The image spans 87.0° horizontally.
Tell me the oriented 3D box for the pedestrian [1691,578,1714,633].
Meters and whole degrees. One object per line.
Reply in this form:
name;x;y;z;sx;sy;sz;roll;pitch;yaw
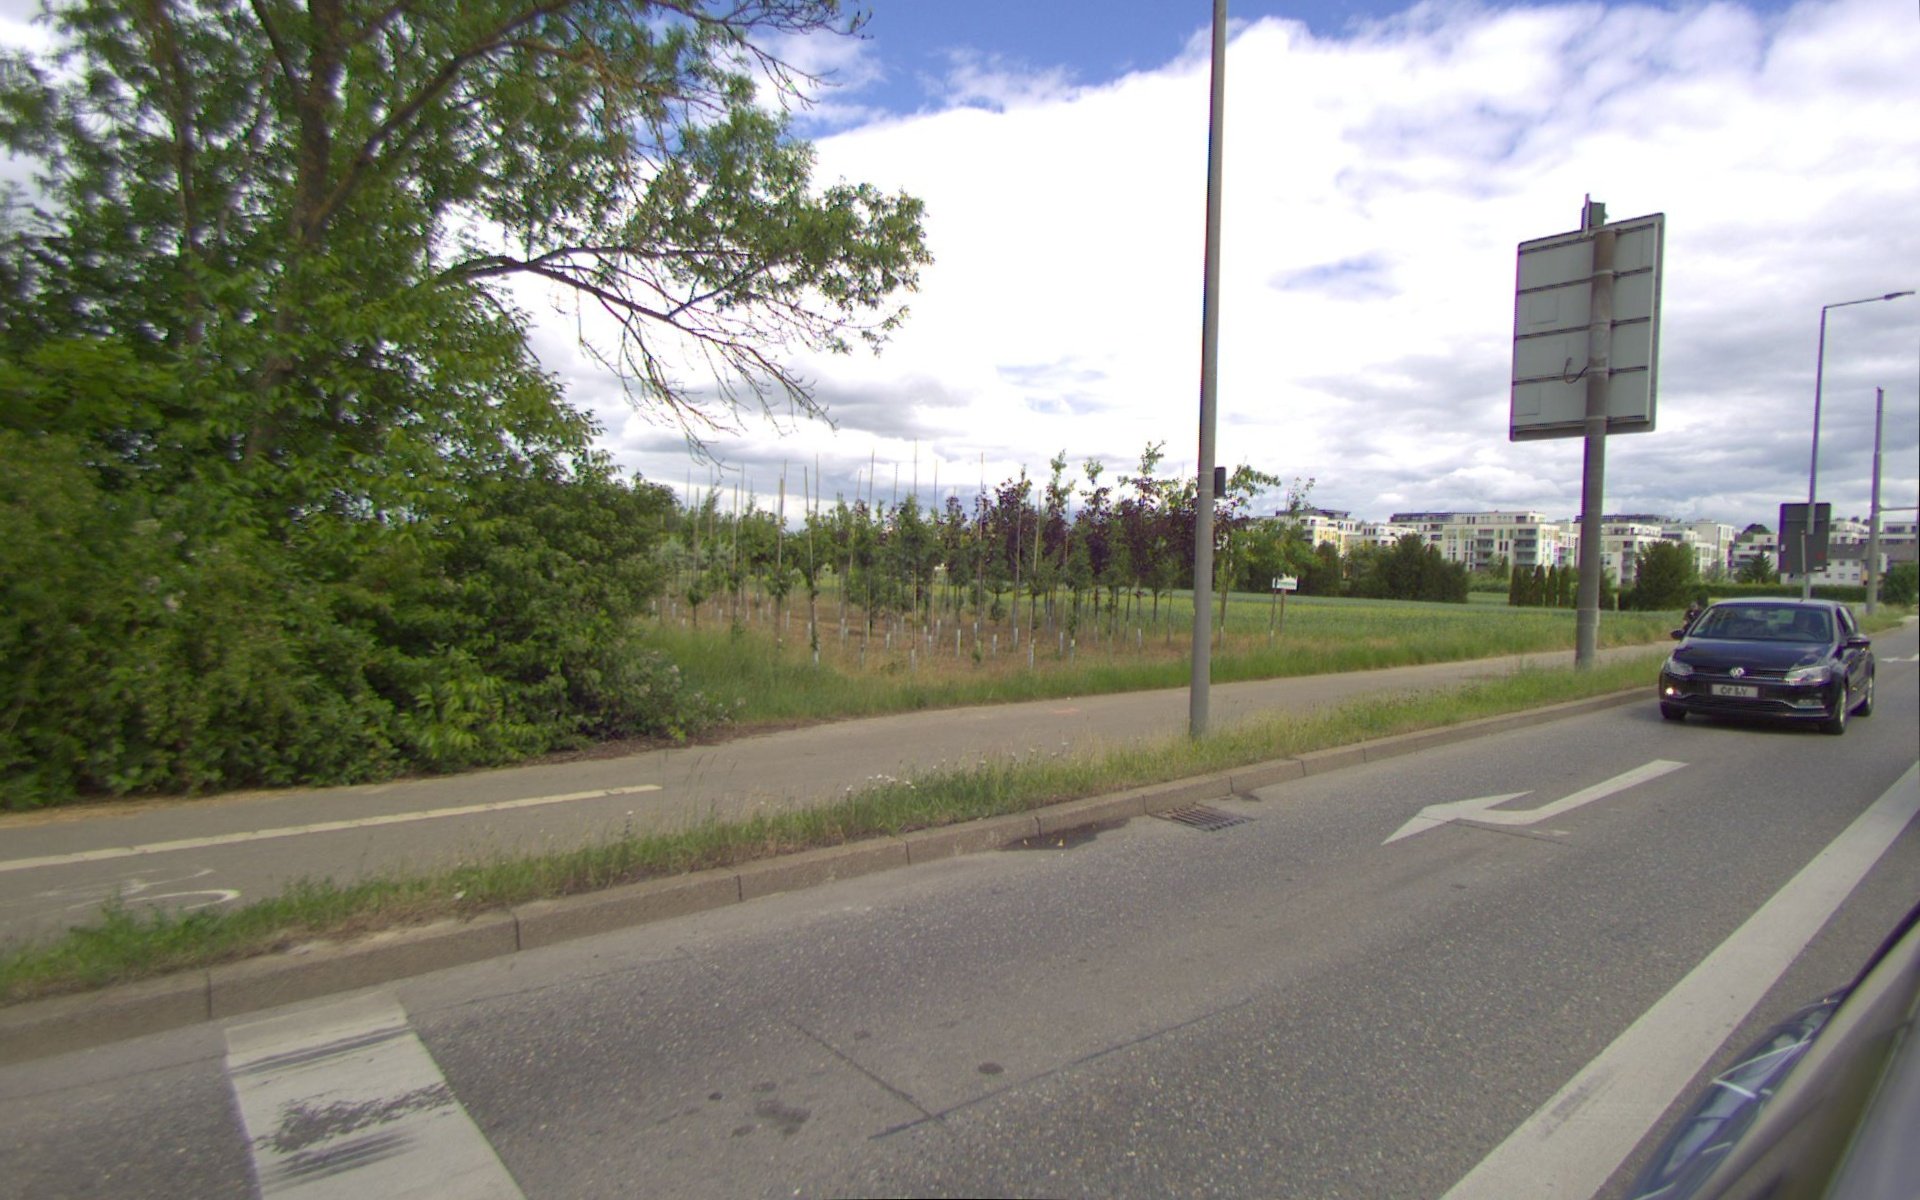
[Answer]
pedestrian;23.660;0.162;32.251;0.615;1.724;0.492;-1;0;-43

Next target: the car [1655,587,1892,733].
car;9.824;0.580;12.130;3.677;1.436;1.680;-1;2;-43
